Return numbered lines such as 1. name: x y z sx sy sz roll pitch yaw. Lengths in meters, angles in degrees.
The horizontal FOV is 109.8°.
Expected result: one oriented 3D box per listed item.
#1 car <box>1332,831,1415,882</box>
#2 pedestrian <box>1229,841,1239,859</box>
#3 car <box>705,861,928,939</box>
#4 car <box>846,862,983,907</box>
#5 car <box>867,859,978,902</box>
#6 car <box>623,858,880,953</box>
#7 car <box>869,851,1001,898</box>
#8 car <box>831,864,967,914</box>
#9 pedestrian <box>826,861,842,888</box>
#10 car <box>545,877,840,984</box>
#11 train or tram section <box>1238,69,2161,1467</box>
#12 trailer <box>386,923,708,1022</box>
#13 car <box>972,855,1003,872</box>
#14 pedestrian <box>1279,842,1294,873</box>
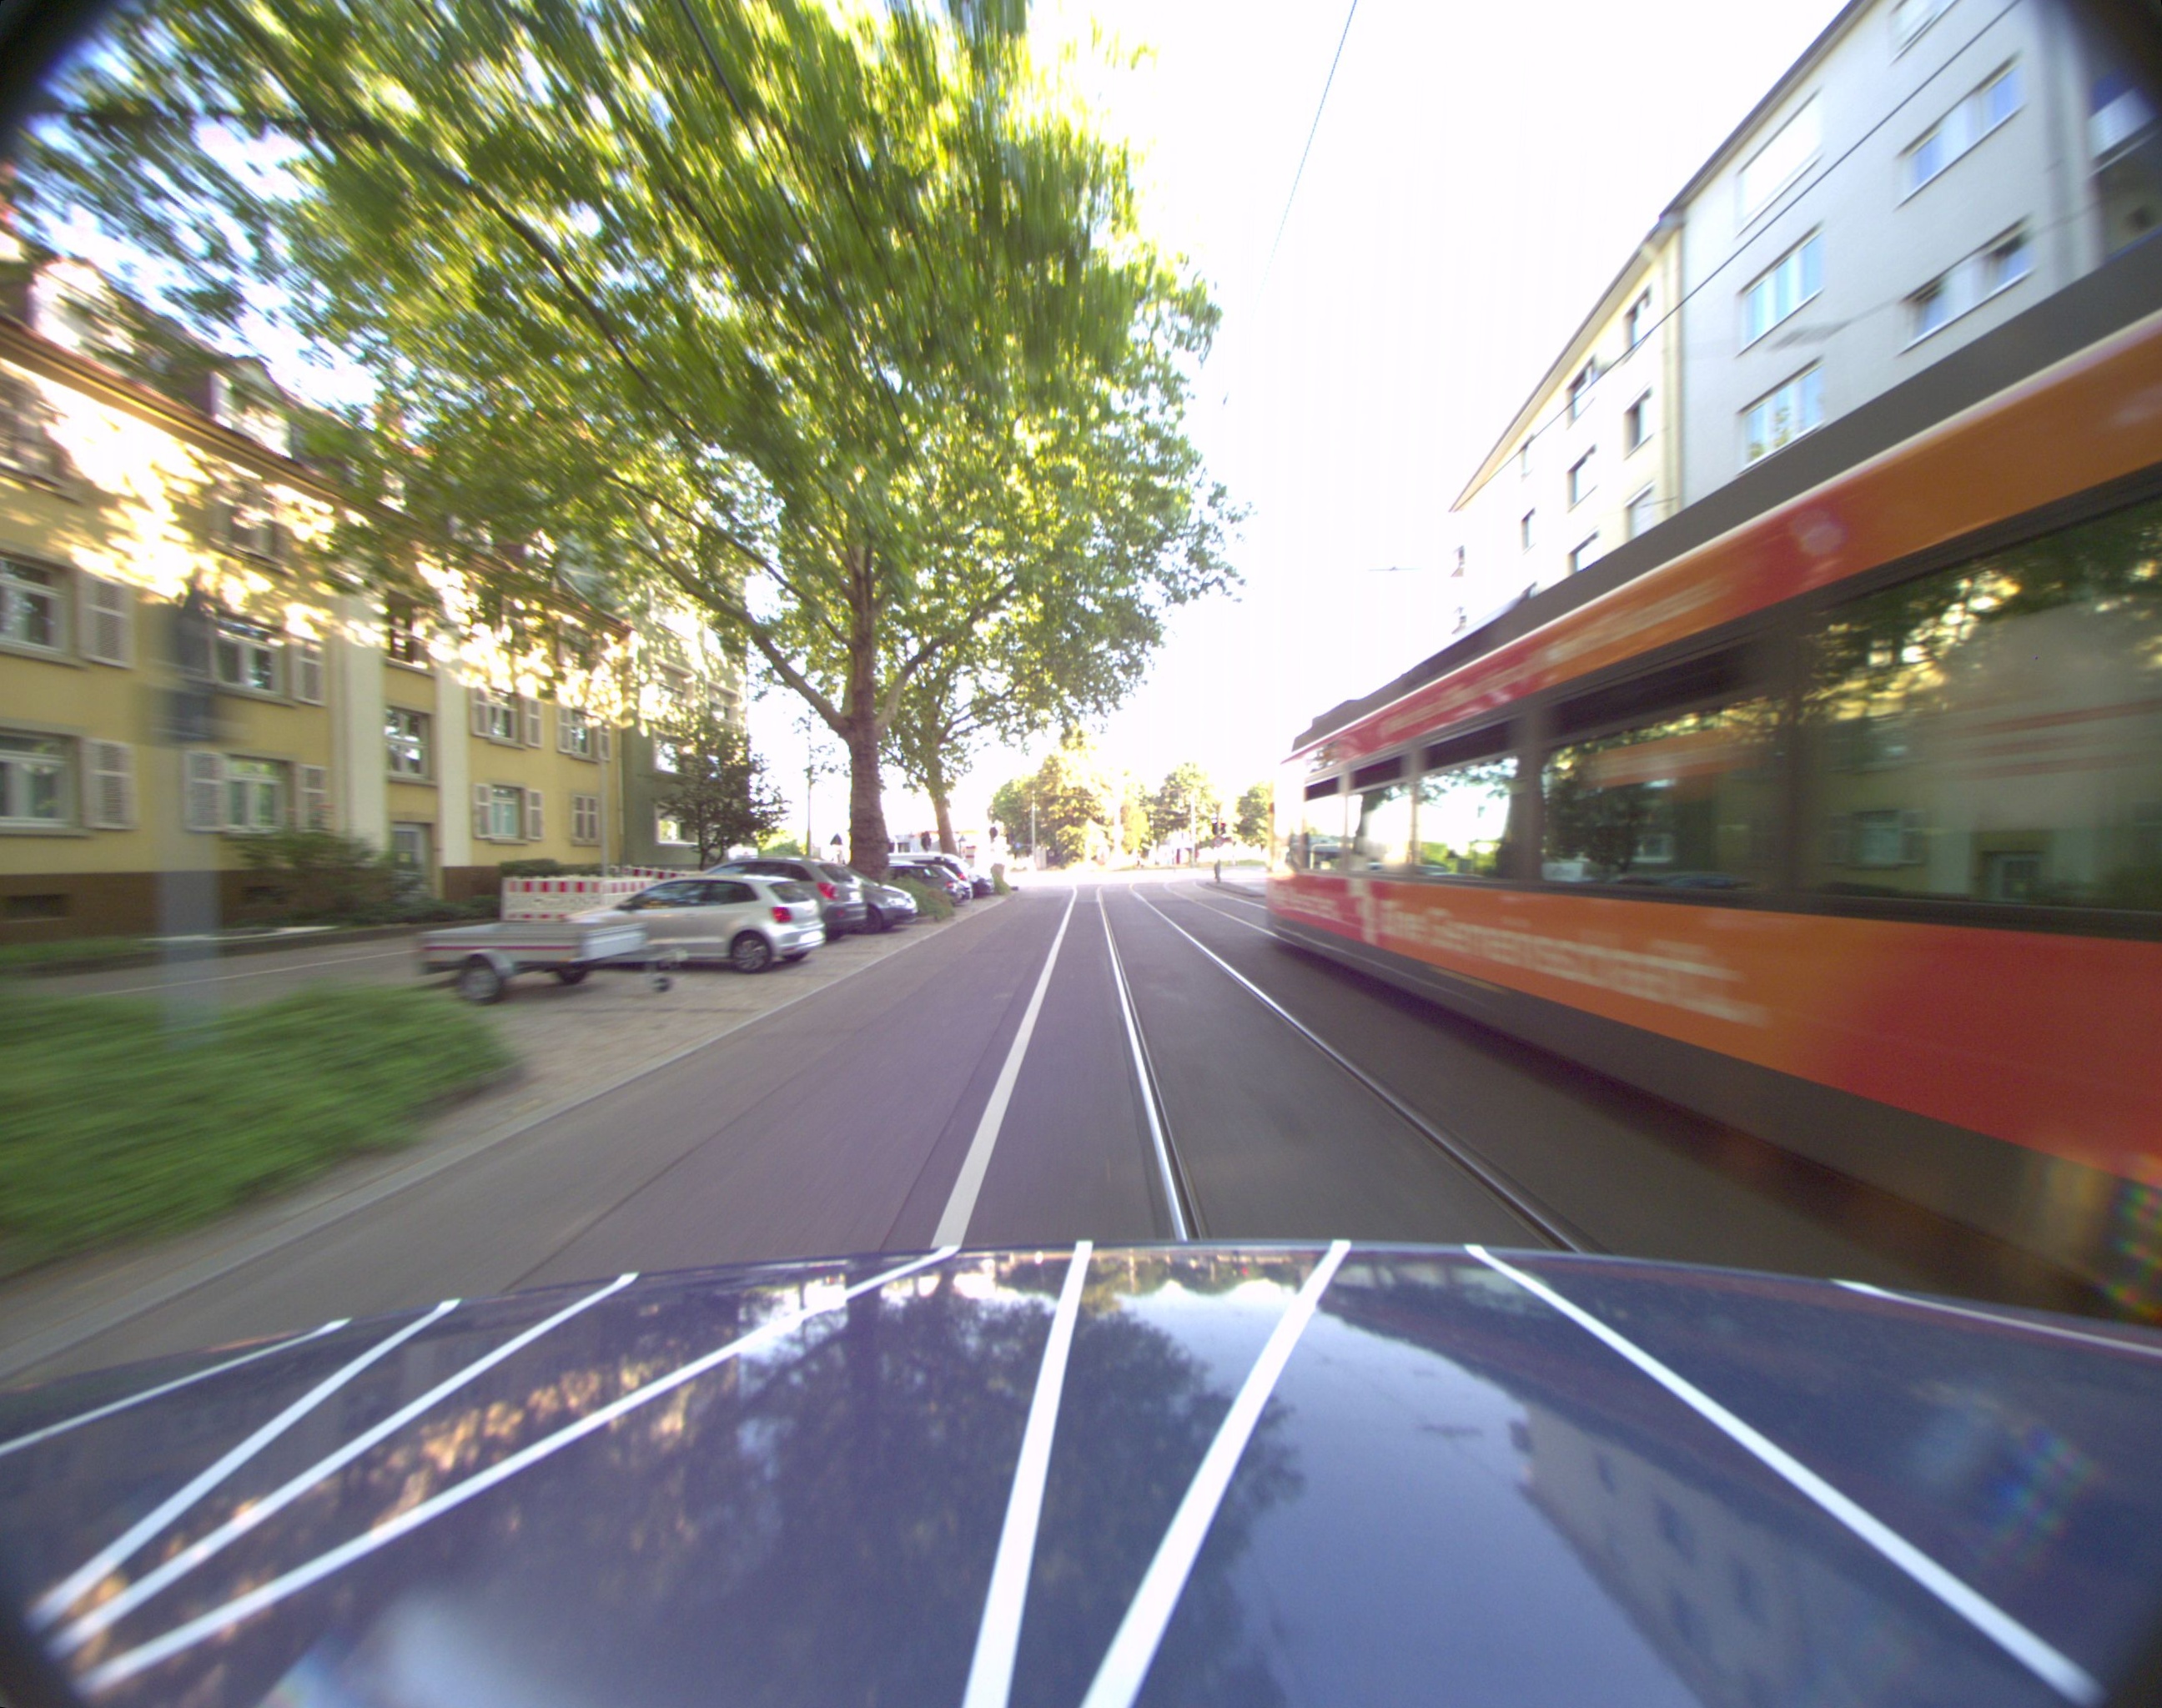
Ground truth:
1. car: 11.276 0.084 29.598 1.997 1.821 4.226 0 0 6
2. pedestrian: 17.705 -0.483 88.145 0.913 2.002 0.860 -2 1 -4
3. car: -5.915 0.995 17.421 4.436 1.648 1.908 0 1 -1
4. car: -5.788 1.064 26.755 4.410 1.514 1.818 0 0 1
5. car: -6.053 1.009 29.275 3.884 1.596 1.796 0 0 0
6. car: -6.415 0.960 15.101 4.318 1.721 1.841 0 0 5
7. car: -6.032 0.828 31.845 5.126 1.845 1.914 0 1 0
8. car: -5.665 1.062 23.975 3.891 1.488 1.741 0 0 -2
9. pedestrian: -14.898 1.231 45.801 0.688 1.622 0.640 -2 1 -36
10. car: -5.930 1.127 11.928 3.660 1.416 1.866 1 0 2
11. train or tram section: 4.197 -0.247 6.785 2.916 3.466 13.368 -1 0 1
12. trailer: -6.448 1.398 9.332 3.046 0.898 1.437 0 1 7
13. car: -9.374 0.988 75.902 1.644 1.427 3.565 -3 -1 -32
14. pedestrian: 11.230 0.176 41.472 0.753 1.670 0.794 -1 1 15
